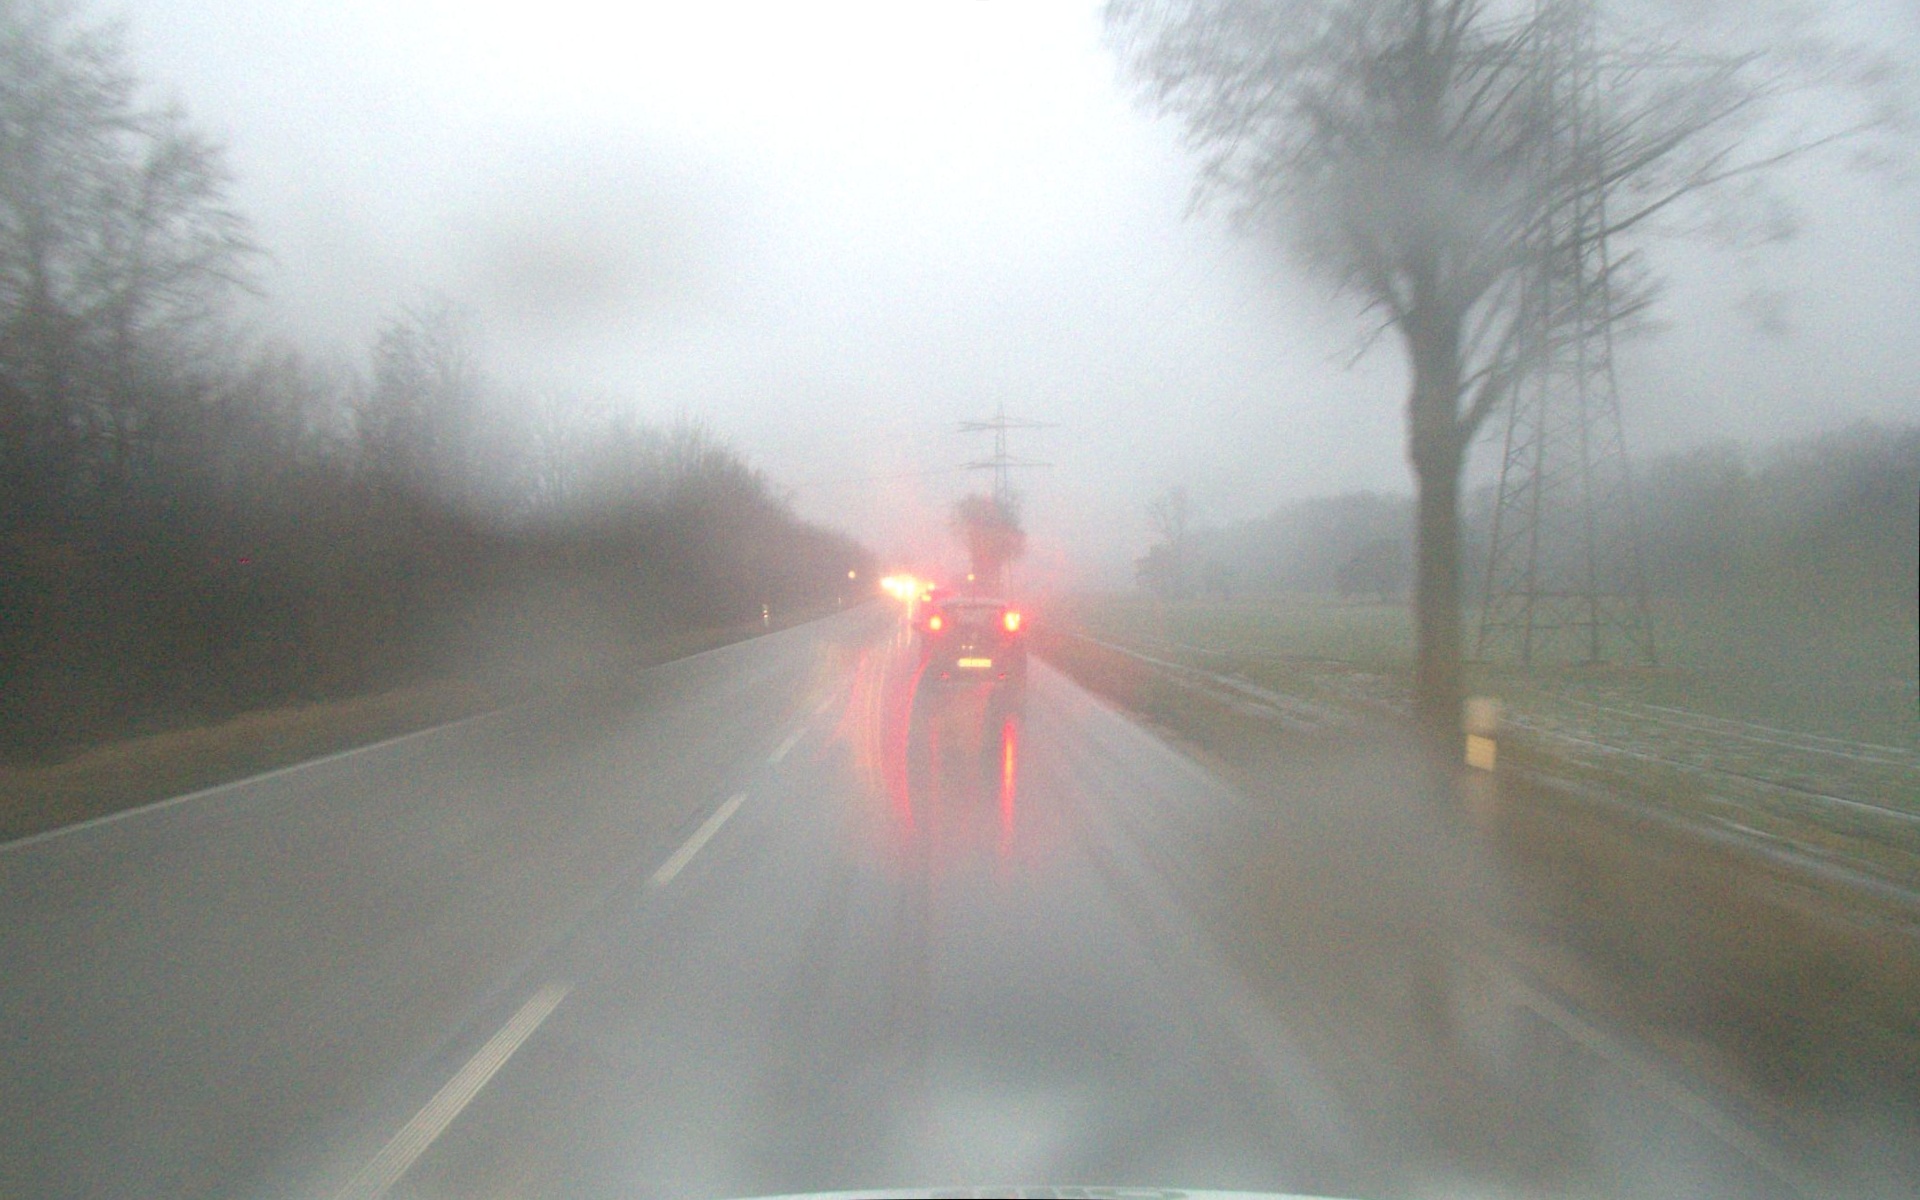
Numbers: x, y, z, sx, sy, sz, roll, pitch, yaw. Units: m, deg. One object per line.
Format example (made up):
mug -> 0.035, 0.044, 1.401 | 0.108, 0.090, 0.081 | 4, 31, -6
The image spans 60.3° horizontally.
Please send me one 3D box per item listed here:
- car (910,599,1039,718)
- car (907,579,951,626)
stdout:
car -> 0.185, 0.885, 27.055 | 1.953, 1.782, 3.999 | 0, 0, -1
car -> -1.483, 0.097, 80.284 | 1.953, 2.048, 4.001 | 2, 2, 0
